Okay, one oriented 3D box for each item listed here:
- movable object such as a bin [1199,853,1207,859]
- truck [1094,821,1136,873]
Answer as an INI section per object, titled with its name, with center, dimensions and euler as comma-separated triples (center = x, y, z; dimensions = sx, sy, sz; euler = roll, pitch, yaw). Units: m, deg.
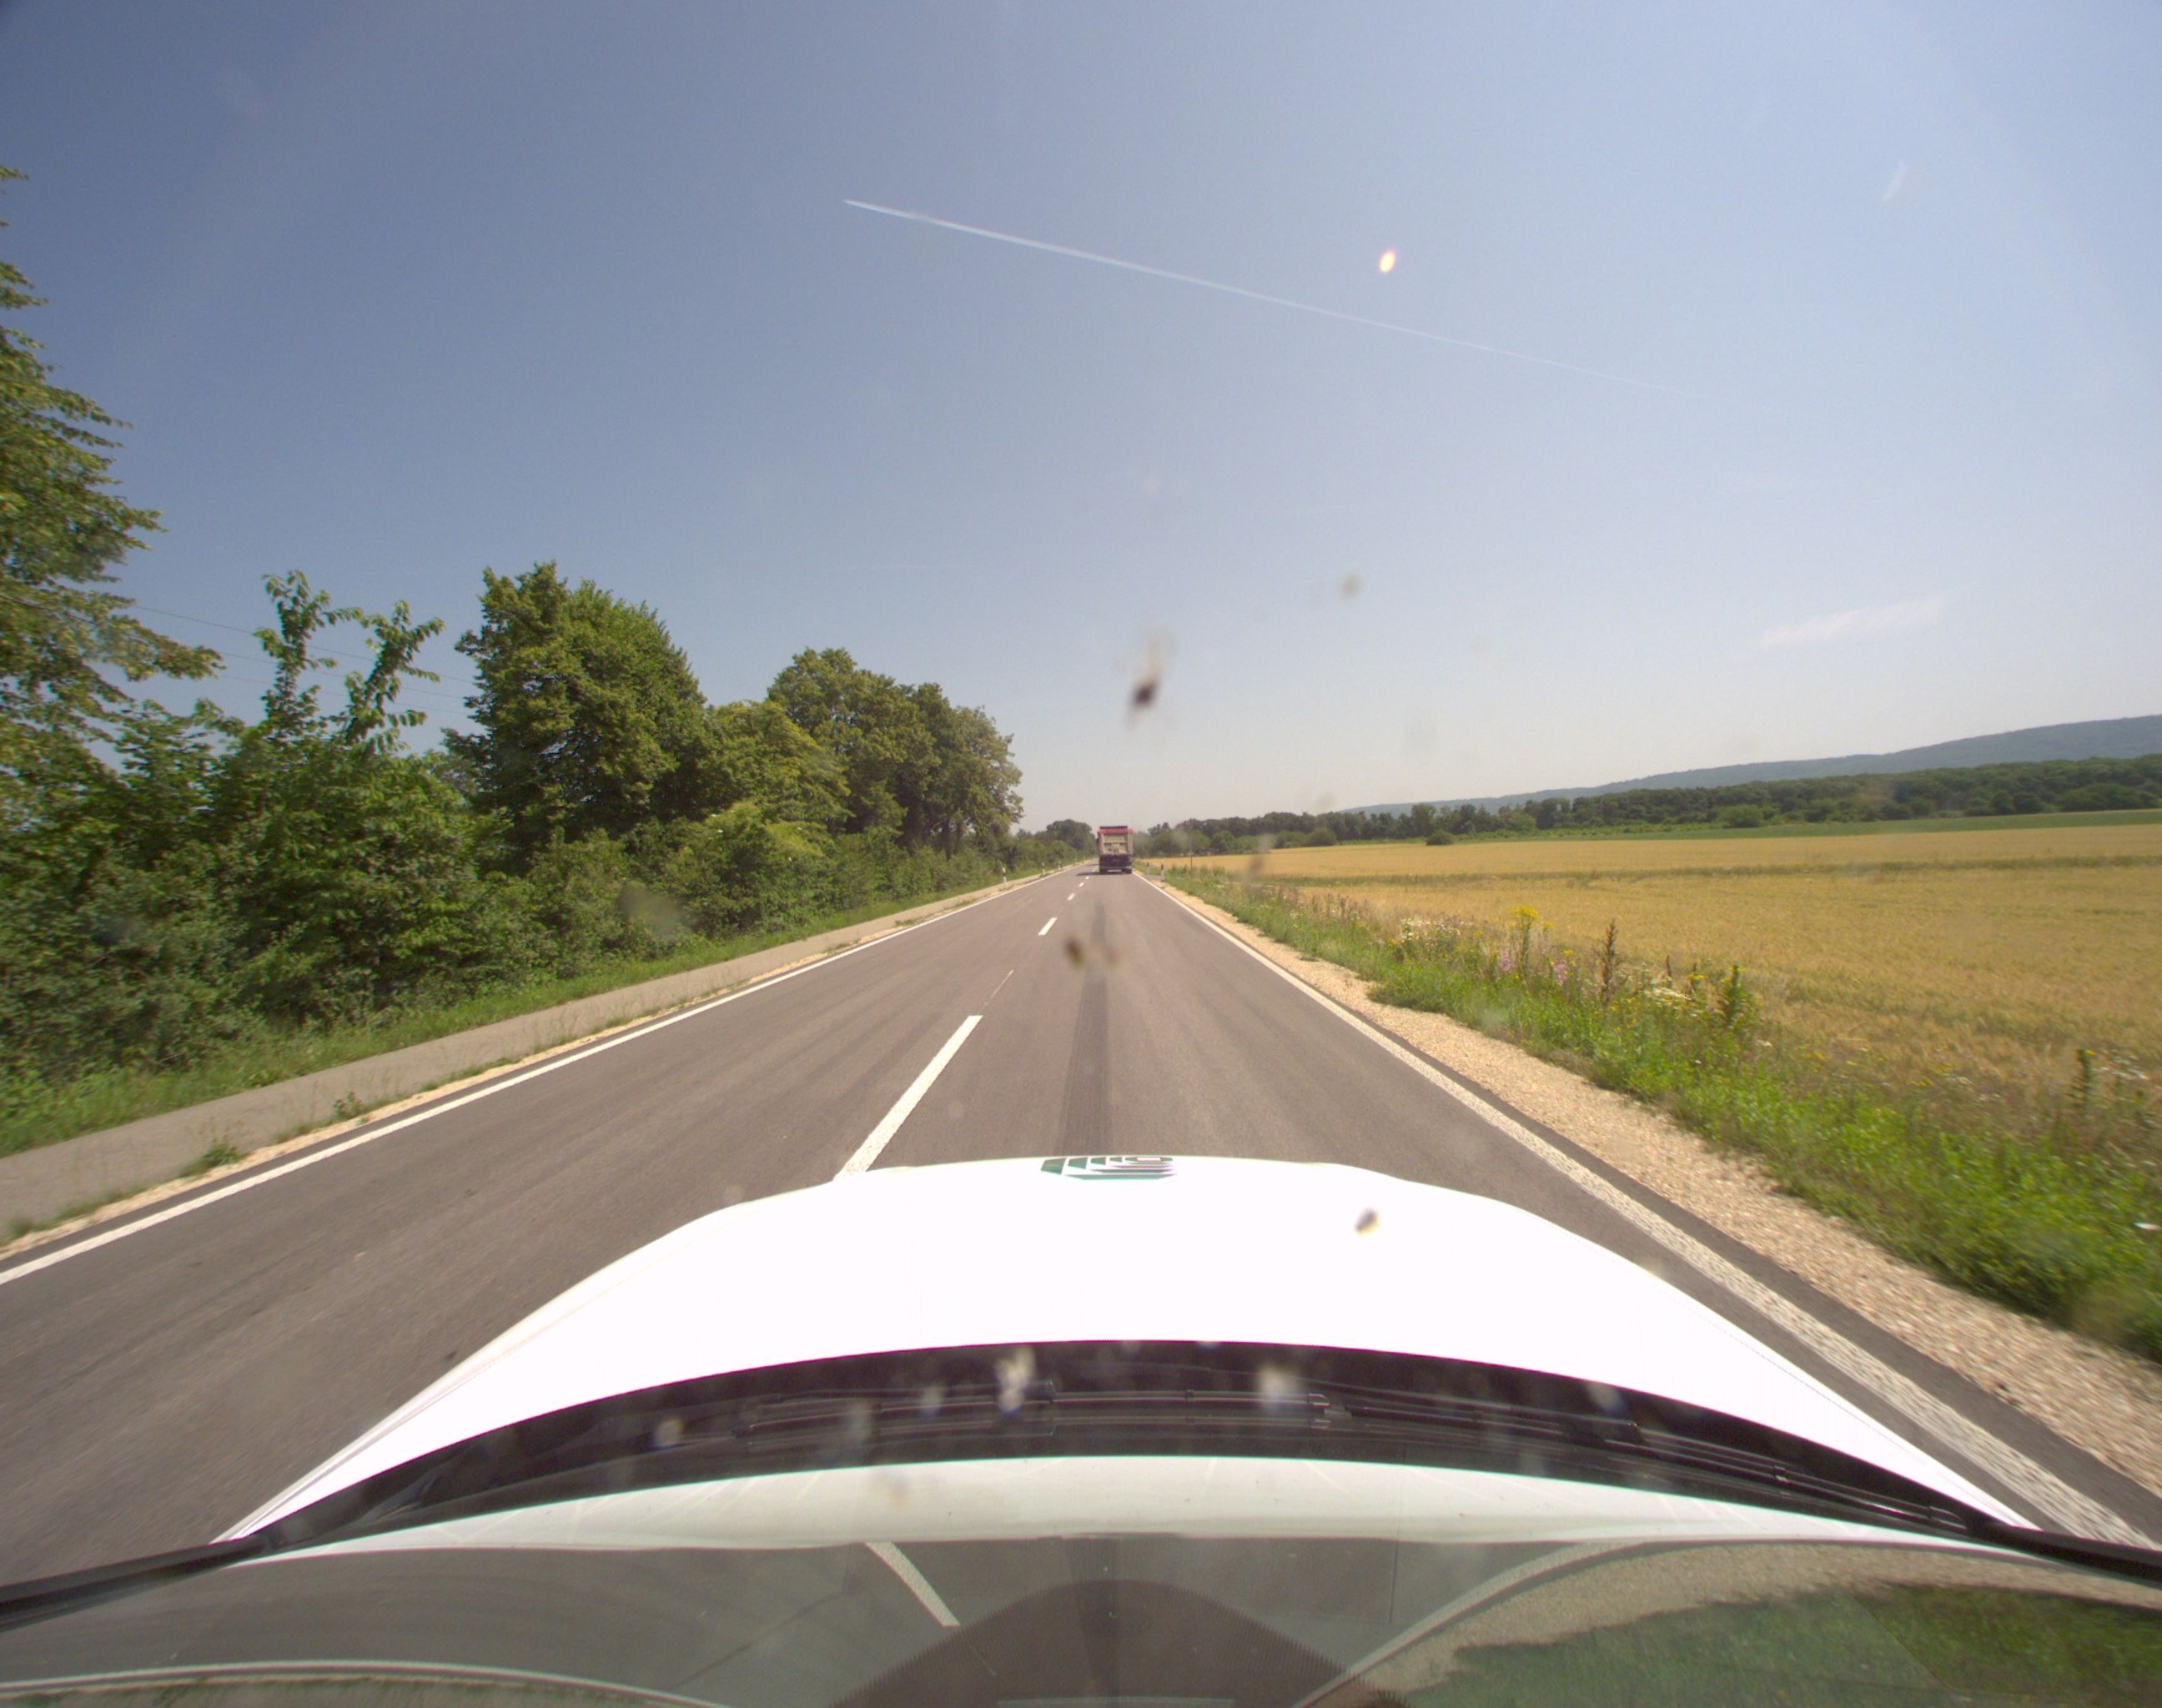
[movable object such as a bin]
center = 34.450, 0.573, 229.924
dimensions = 1.567, 1.496, 3.655
euler = -2, 0, -3
[truck]
center = 2.718, -0.465, 66.213
dimensions = 2.998, 3.874, 12.213
euler = -1, -1, 2
